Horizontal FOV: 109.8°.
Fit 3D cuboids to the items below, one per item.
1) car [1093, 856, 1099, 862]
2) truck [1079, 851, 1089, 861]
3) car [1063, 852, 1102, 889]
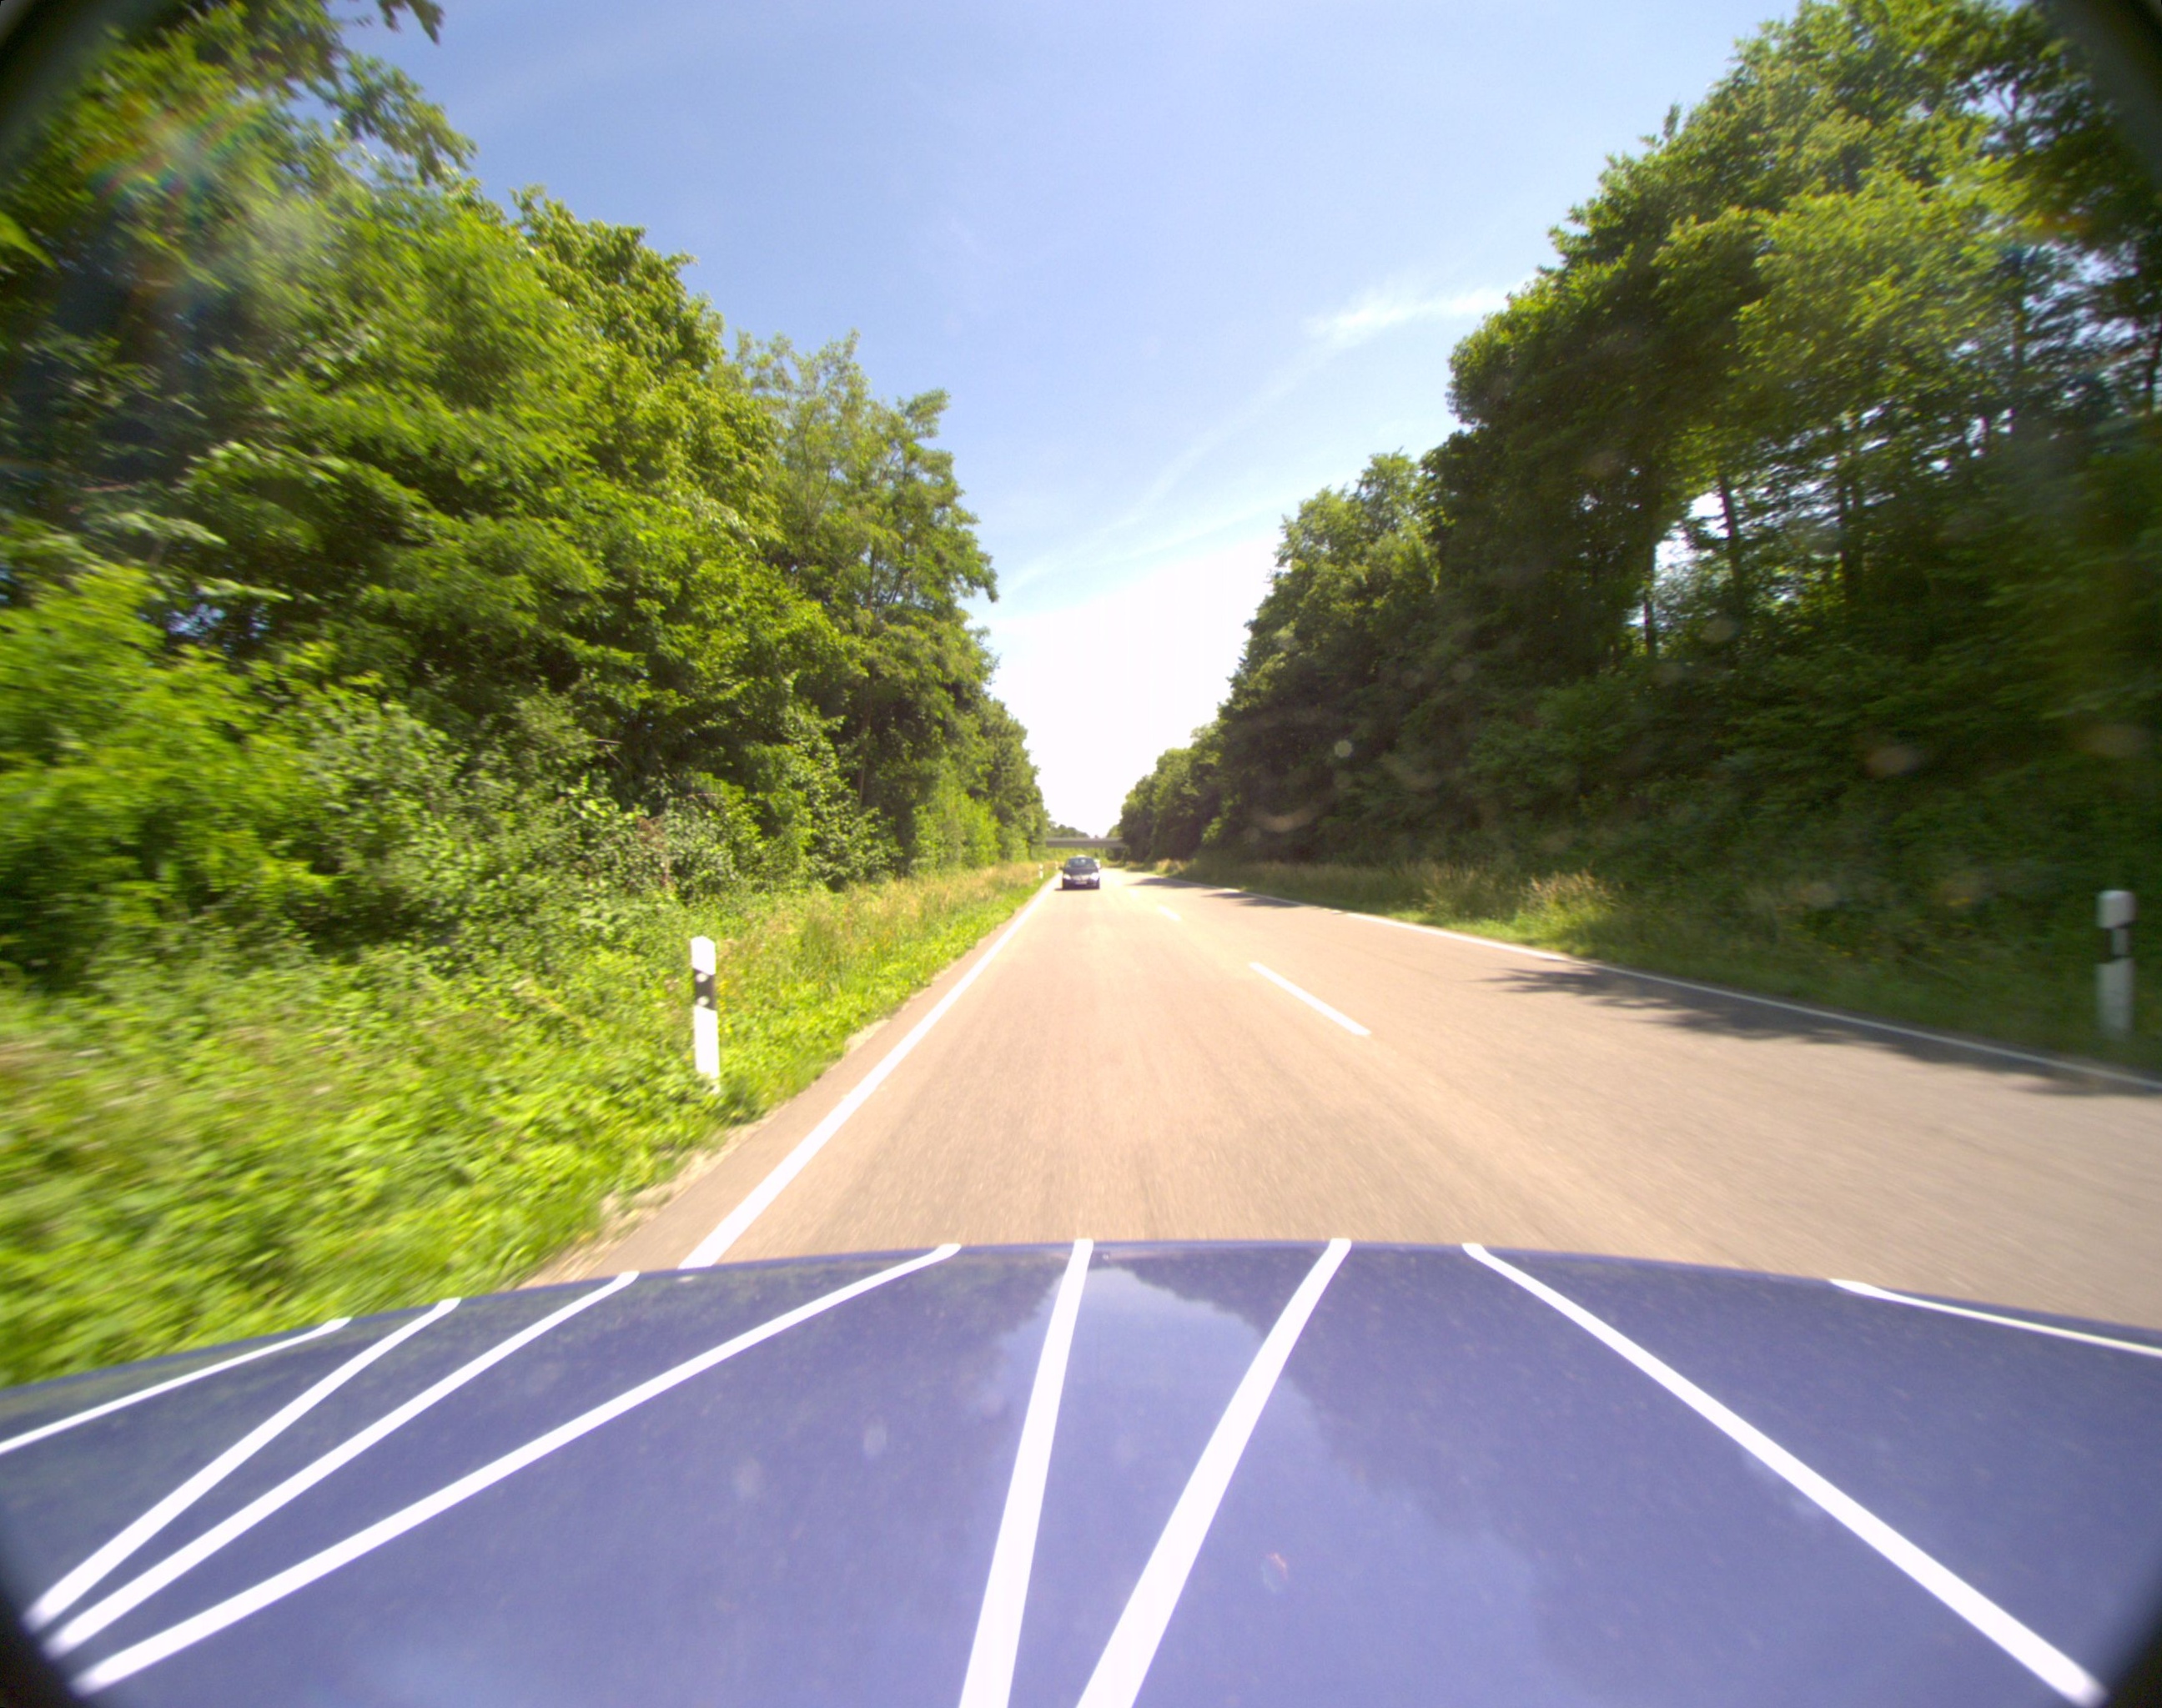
[{"bbox_3d":[4.084,1.347,202.045,1.516,1.583,3.793,0,0,0],"label":"car"},{"bbox_3d":[0.923,0.611,237.996,2.578,3.111,11.197,-3,0,-2],"label":"truck"},{"bbox_3d":[0.059,0.807,37.359,1.784,1.675,4.779,-1,-1,0],"label":"car"}]
